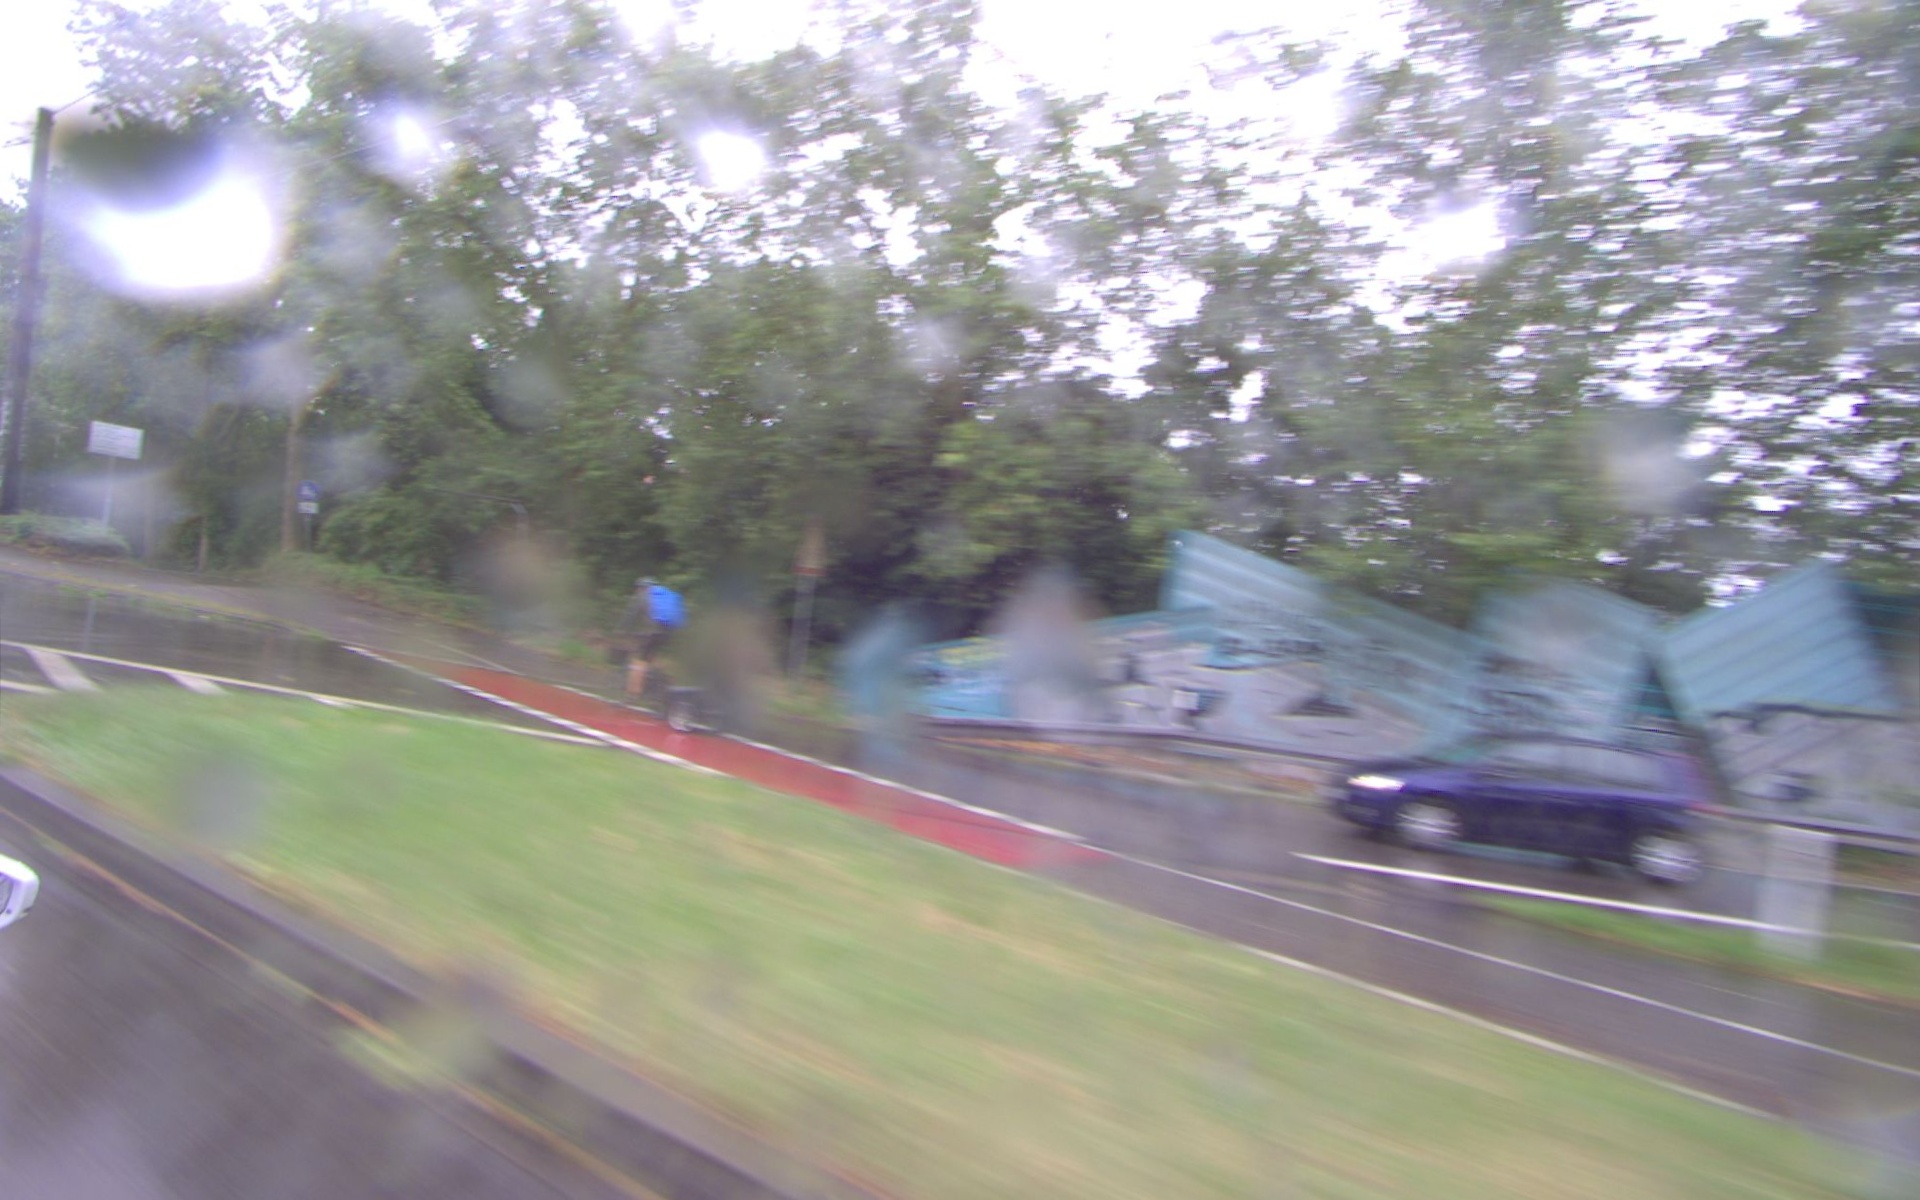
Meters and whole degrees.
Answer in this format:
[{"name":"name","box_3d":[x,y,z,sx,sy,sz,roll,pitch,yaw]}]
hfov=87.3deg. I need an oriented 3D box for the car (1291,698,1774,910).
[{"name":"car","box_3d":[6.478,2.291,11.848,4.431,1.555,1.870,7,-1,4]}]
